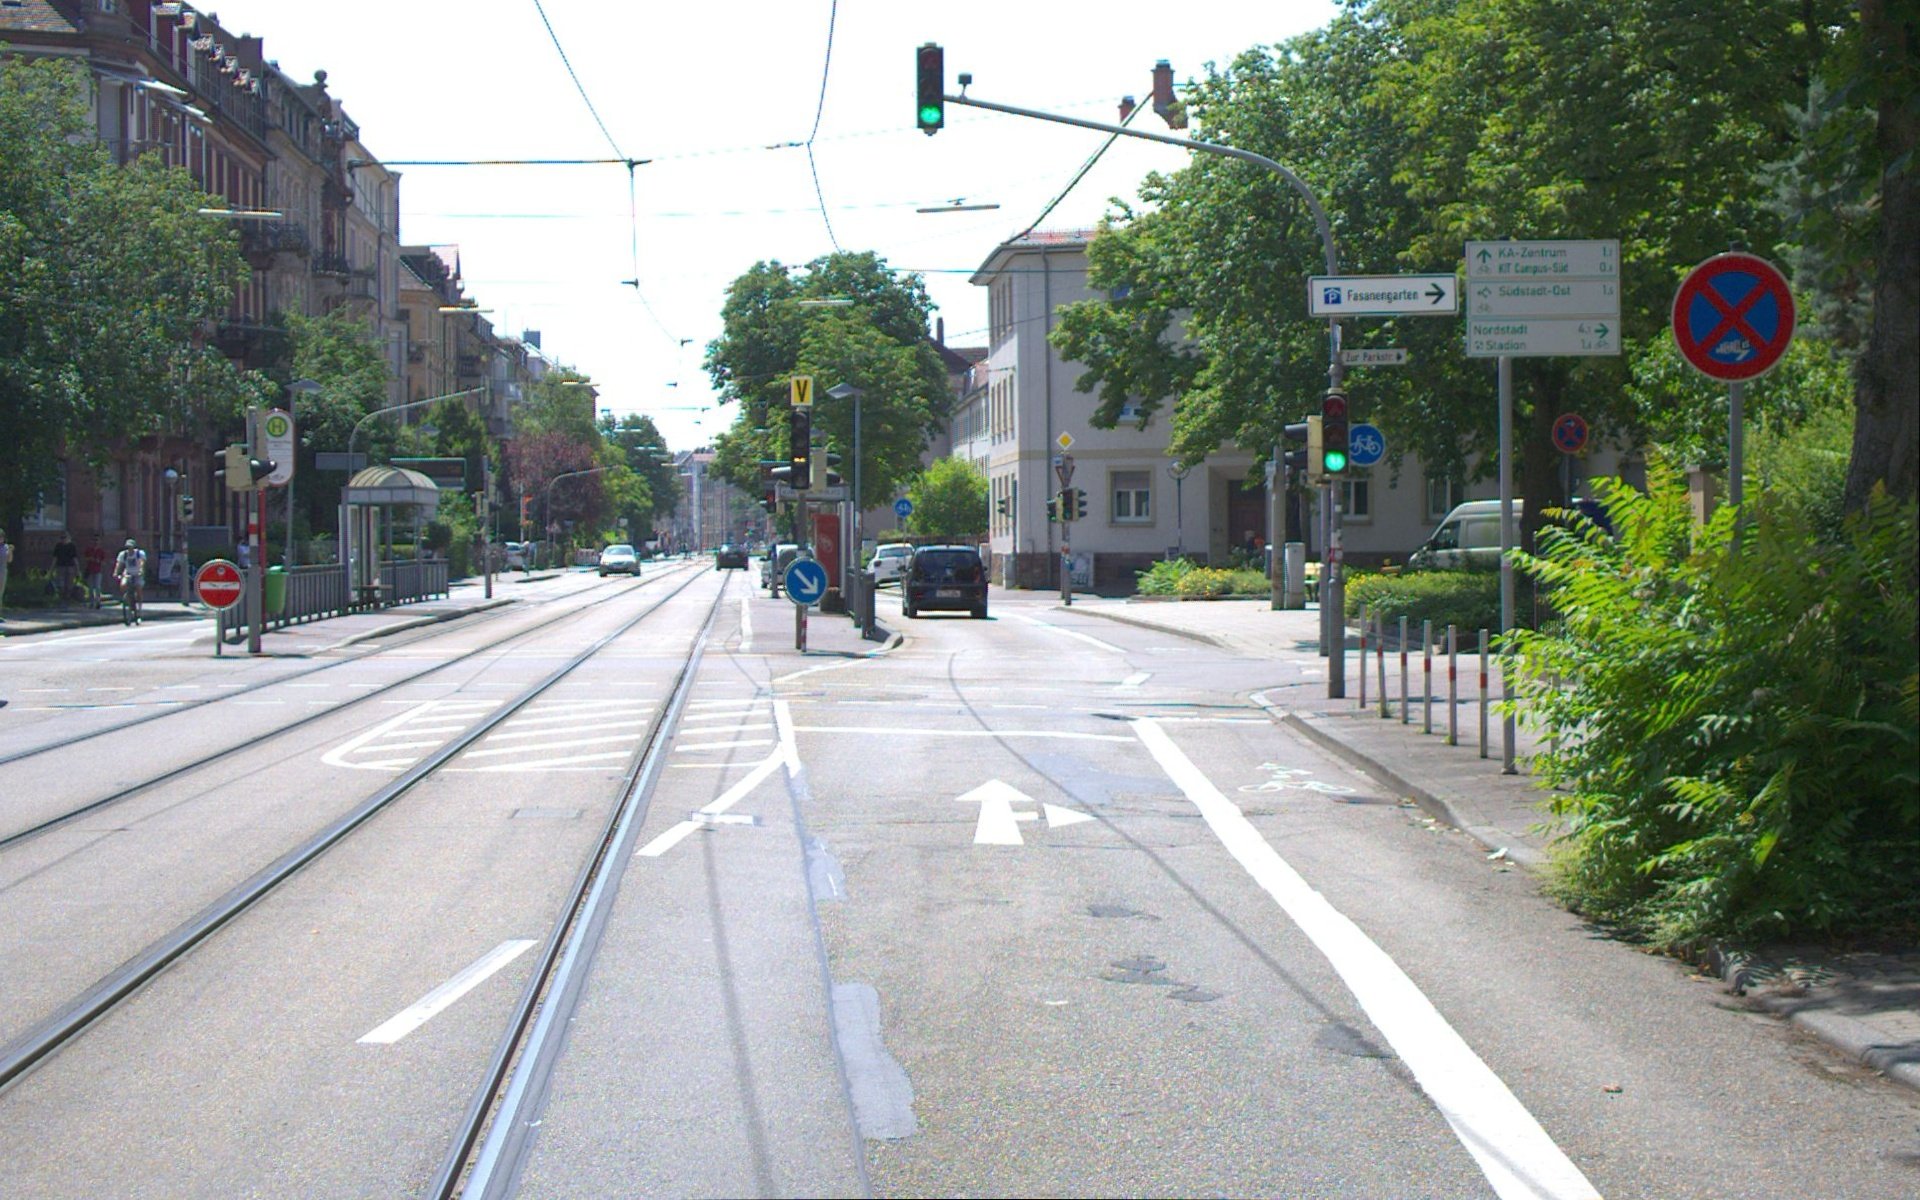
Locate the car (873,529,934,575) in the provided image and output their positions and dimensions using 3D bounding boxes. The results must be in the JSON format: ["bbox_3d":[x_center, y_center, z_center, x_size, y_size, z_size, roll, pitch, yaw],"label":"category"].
[{"bbox_3d":[-1.926,-1.627,116.852,1.747,1.468,3.939,-3,1,-5],"label":"car"}]

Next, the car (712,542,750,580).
[{"bbox_3d":[-12.655,-2.144,190.238,2.047,2.007,4.607,1,0,-4],"label":"car"}]

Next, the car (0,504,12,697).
[{"bbox_3d":[-10.264,0.022,32.705,1.843,1.931,4.824,-1,0,-9],"label":"car"}]

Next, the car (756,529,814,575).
[{"bbox_3d":[-5.758,-1.565,112.862,1.524,1.451,3.365,-1,0,-9],"label":"car"}]

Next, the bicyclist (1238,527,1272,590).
[{"bbox_3d":[7.760,-1.085,90.411,0.694,1.640,0.579,1,0,30],"label":"bicyclist"}]

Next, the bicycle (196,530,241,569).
[{"bbox_3d":[-22.194,-1.508,102.910,0.364,1.165,1.517,3,1,30],"label":"bicycle"}]

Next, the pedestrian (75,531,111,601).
[{"bbox_3d":[-20.032,-0.789,79.424,0.679,1.600,0.773,1,0,-7],"label":"pedestrian"}]

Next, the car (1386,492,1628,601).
[{"bbox_3d":[13.326,-1.311,84.046,1.995,2.581,5.847,-1,1,-44],"label":"car"}]

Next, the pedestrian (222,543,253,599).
[{"bbox_3d":[-21.140,-0.852,100.561,0.469,1.609,0.652,5,3,44],"label":"pedestrian"}]

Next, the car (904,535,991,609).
[{"bbox_3d":[-0.276,-0.566,70.092,1.524,1.439,3.365,-1,0,-4],"label":"car"}]

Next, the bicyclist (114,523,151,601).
[{"bbox_3d":[-16.655,-0.764,69.198,0.608,1.569,0.585,1,0,-4],"label":"bicyclist"}]

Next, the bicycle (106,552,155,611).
[{"bbox_3d":[-16.663,-0.383,69.120,0.628,1.153,1.978,1,1,-4],"label":"bicycle"}]

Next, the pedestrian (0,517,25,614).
[{"bbox_3d":[-18.468,-0.664,66.670,0.510,1.873,0.494,1,0,1],"label":"pedestrian"}]

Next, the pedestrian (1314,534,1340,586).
[{"bbox_3d":[7.790,-0.843,73.001,0.509,1.088,0.478,-1,2,2],"label":"pedestrian"}]
